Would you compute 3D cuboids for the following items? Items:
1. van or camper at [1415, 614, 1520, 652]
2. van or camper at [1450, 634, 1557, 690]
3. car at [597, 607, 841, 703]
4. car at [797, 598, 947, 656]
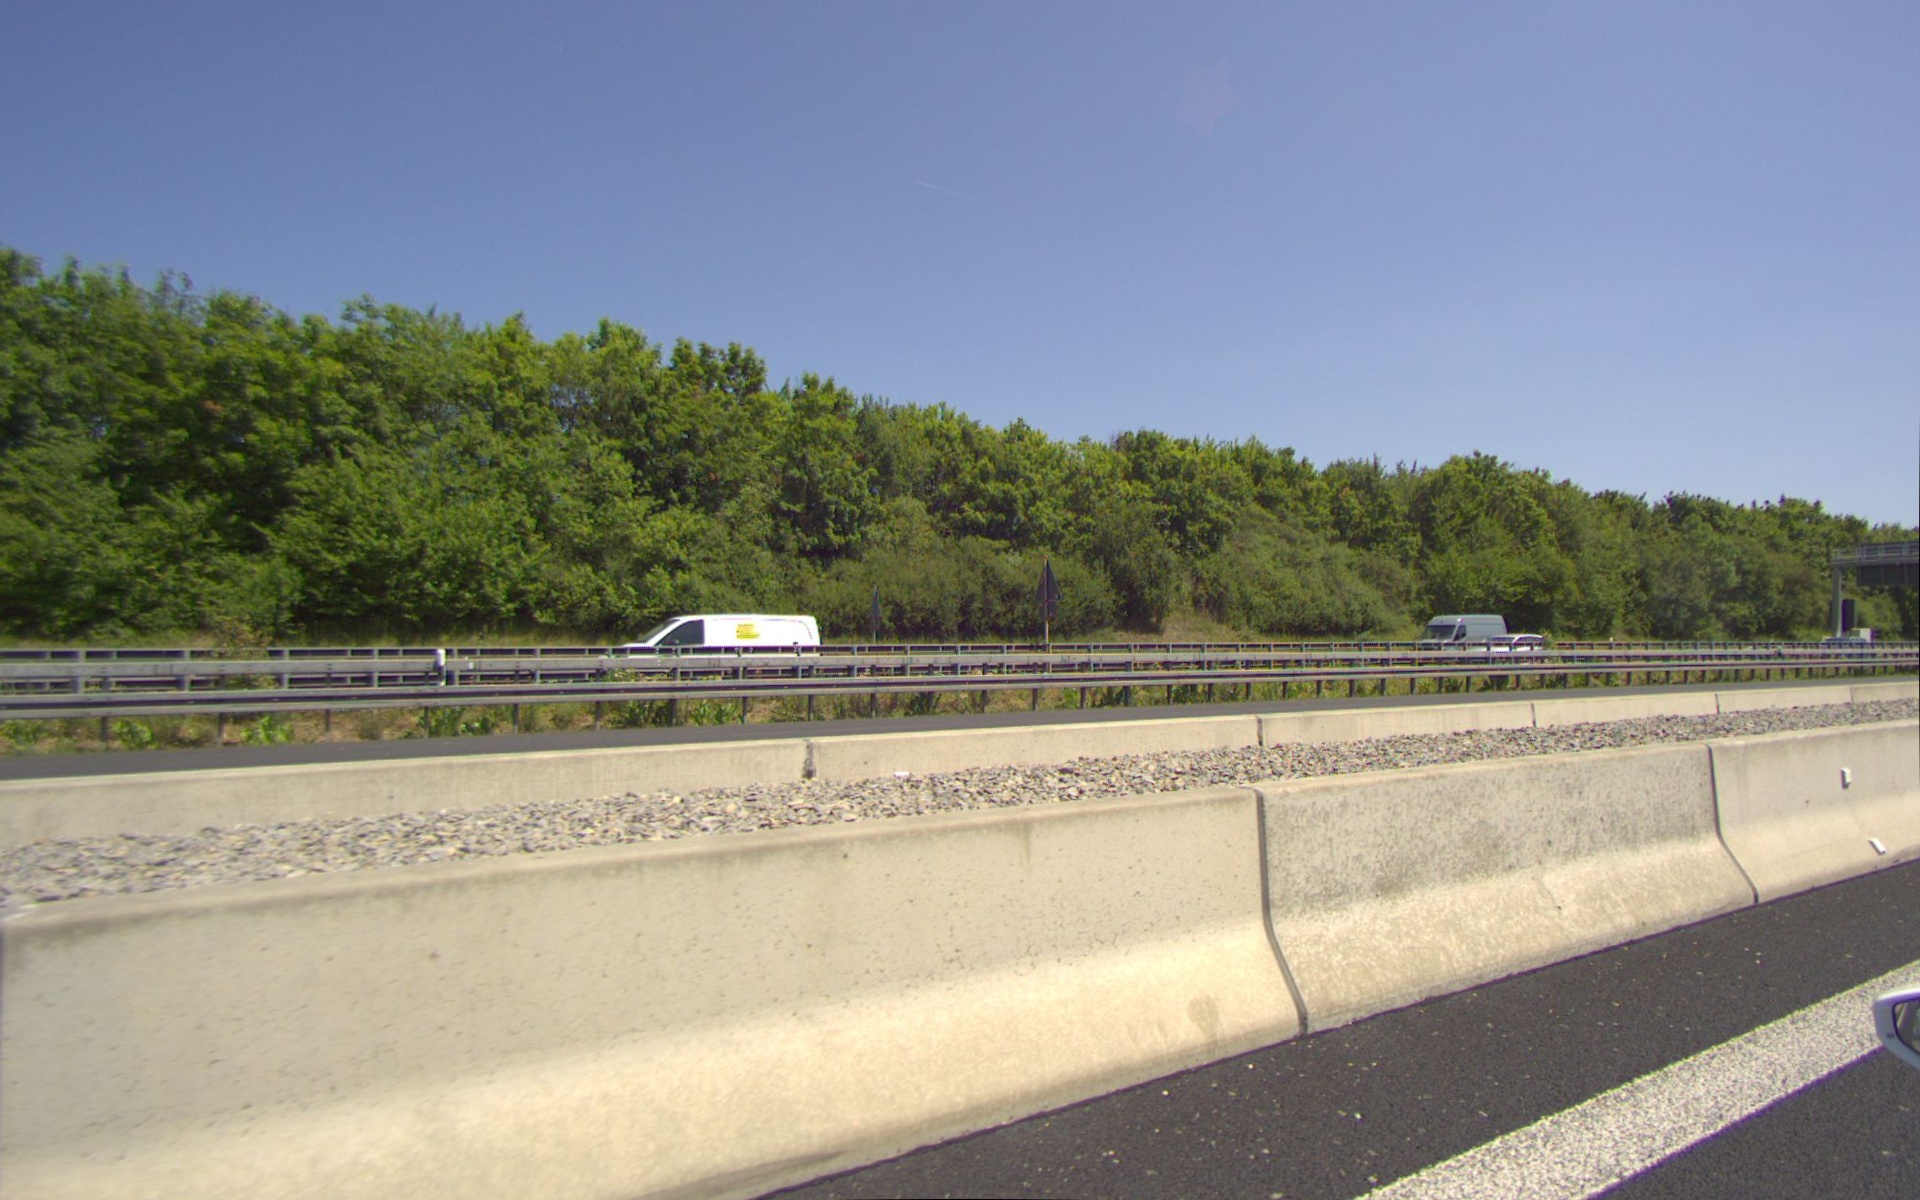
[{"bbox_3d":[25.555,1.651,50.530,5.460,1.822,1.985,1,-1,-29],"label":"van or camper"},{"bbox_3d":[21.785,2.451,40.238,3.953,2.040,1.984,2,0,-30],"label":"van or camper"},{"bbox_3d":[-5.667,1.277,23.886,5.286,2.040,1.984,2,0,-30],"label":"car"},{"bbox_3d":[-3.301,1.046,38.120,5.285,2.040,1.985,2,0,-29],"label":"car"}]
